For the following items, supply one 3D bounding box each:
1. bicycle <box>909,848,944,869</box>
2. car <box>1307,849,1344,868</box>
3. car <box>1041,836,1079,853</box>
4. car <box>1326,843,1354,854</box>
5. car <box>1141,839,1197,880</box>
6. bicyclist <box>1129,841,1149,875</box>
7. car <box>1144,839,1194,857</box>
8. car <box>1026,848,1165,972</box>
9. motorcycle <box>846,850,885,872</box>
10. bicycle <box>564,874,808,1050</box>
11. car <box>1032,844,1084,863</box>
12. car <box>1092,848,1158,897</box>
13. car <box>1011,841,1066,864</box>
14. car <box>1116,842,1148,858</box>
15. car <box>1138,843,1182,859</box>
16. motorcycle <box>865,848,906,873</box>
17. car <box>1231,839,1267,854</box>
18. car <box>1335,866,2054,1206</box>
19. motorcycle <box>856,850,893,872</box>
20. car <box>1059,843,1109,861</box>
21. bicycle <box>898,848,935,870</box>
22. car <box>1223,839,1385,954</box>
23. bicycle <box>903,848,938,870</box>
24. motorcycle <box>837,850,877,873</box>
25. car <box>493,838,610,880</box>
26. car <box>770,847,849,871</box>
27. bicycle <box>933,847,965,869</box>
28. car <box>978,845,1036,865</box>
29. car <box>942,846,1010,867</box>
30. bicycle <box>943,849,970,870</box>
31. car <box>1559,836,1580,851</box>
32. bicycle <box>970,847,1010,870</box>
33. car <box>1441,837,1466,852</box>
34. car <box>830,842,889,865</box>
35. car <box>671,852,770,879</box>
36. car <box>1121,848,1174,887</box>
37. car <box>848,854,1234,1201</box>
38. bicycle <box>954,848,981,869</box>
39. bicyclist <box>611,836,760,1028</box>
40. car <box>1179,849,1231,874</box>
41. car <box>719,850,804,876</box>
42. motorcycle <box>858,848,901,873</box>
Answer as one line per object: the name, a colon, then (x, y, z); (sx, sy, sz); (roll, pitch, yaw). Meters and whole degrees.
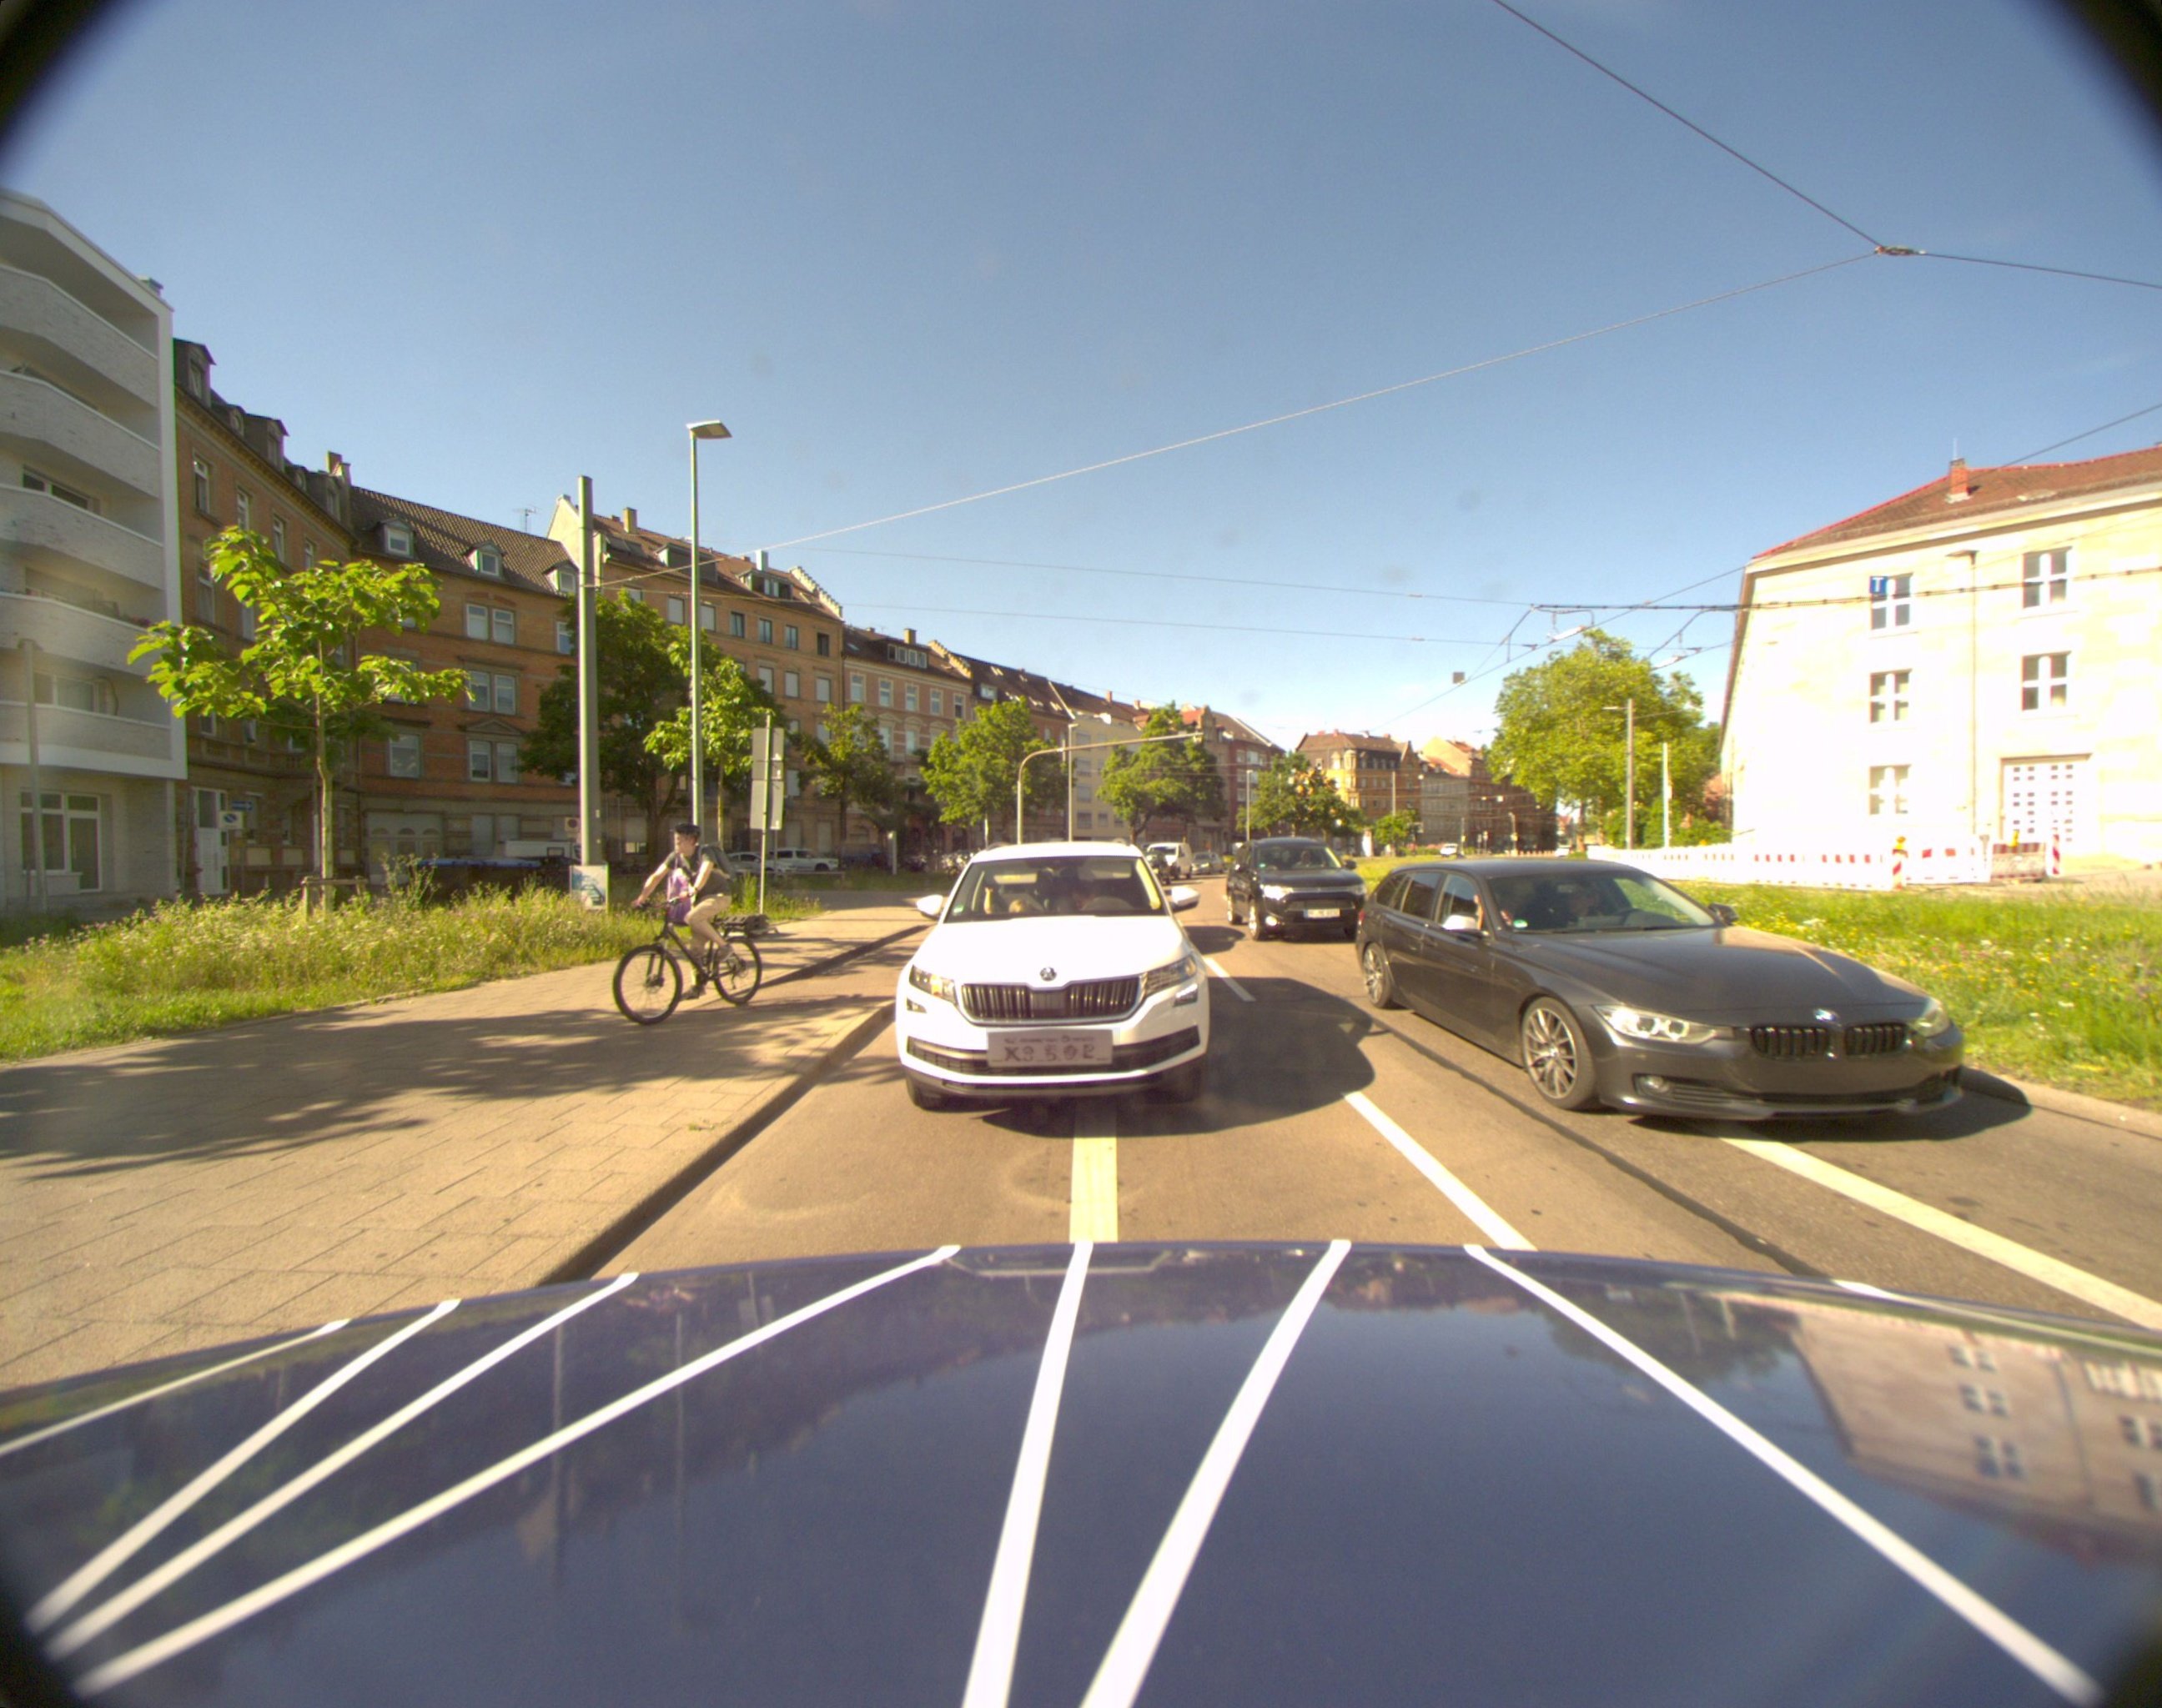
bicycle: (-9.516, 0.279, 46.715); (2.198, 1.260, 0.664); (-2, 1, 32)
car: (22.493, 0.419, 69.751); (1.835, 1.637, 4.157); (1, 2, 40)
car: (-1.947, -0.943, 71.669); (1.547, 1.578, 3.607); (1, 2, 41)
car: (42.518, -0.857, 124.611); (3.989, 1.641, 1.866); (-2, 1, 31)
car: (4.831, 0.229, 41.010); (1.979, 2.074, 4.719); (0, 1, 20)
bicyclist: (3.449, 0.235, 45.142); (0.847, 2.002, 1.198); (0, 1, 20)
car: (8.190, -0.589, 70.613); (4.578, 1.658, 1.600); (0, 1, 7)
car: (0.230, 0.763, 12.612); (1.842, 1.636, 4.397); (-2, 0, 1)
motorcycle: (-12.946, 0.415, 45.627); (2.314, 1.276, 0.664); (-2, 1, 24)
bicycle: (-3.663, 0.914, 7.302); (0.735, 1.353, 2.078); (0, 1, 21)
car: (-1.782, -0.055, 58.716); (3.823, 1.398, 1.600); (0, 1, 6)
car: (1.638, 0.599, 26.961); (1.838, 1.543, 4.151); (0, 1, 10)
car: (-3.114, -0.137, 56.107); (3.825, 1.698, 1.682); (0, 1, 3)
car: (5.461, -0.423, 80.731); (1.547, 1.578, 3.607); (1, 2, 41)
car: (7.119, -0.249, 68.183); (3.823, 1.372, 1.600); (0, 1, 9)
motorcycle: (-11.154, 0.357, 43.296); (2.200, 1.315, 0.664); (-2, 1, 18)
car: (18.686, -0.821, 84.663); (3.823, 1.581, 1.600); (0, 1, 6)
car: (3.474, 0.850, 5.598); (1.741, 1.359, 4.426); (-2, 0, 1)
motorcycle: (-12.608, 0.401, 46.407); (2.199, 1.260, 0.664); (-2, 1, 24)
car: (0.253, -0.160, 61.168); (3.823, 1.398, 1.600); (0, 1, 6)
bicycle: (-9.749, 0.306, 45.073); (2.198, 1.260, 0.664); (-2, 1, 30)
car: (3.693, 0.627, 13.402); (1.841, 1.636, 4.399); (-2, 0, 5)
bicycle: (-9.713, 0.294, 46.012); (2.198, 1.260, 0.664); (-2, 1, 32)
motorcycle: (-13.295, 0.438, 45.022); (2.314, 1.270, 0.664); (-2, 1, 24)
car: (-27.123, 0.216, 39.012); (2.047, 2.026, 4.510); (1, 2, 41)
car: (-14.687, 0.255, 41.197); (3.700, 1.244, 1.540); (0, 1, 2)
bicycle: (-7.735, 0.240, 44.521); (0.664, 1.260, 2.198); (-3, 1, -45)
car: (-5.234, 0.086, 53.968); (3.822, 1.398, 1.683); (0, 1, 9)
car: (-7.049, 0.175, 51.298); (4.322, 1.398, 1.682); (0, 1, 3)
bicycle: (-7.692, 0.340, 46.763); (0.664, 1.260, 2.199); (-3, 1, -36)
car: (58.199, -1.238, 90.545); (1.820, 1.636, 4.190); (-1, 0, 36)
bicycle: (-5.482, 0.267, 45.742); (2.207, 1.260, 0.662); (-3, 1, -25)
car: (48.790, -1.245, 99.502); (1.994, 1.864, 4.599); (-1, 1, 37)
car: (-15.617, -0.057, 53.673); (1.547, 1.578, 3.709); (1, 2, 41)
car: (-17.505, 0.533, 36.909); (4.156, 1.244, 1.683); (0, 1, 13)
car: (3.118, 0.557, 34.870); (1.837, 1.637, 4.152); (0, 1, 14)
car: (-0.232, 0.855, 5.953); (1.842, 1.636, 4.397); (-2, 0, -1)
bicycle: (-7.129, 0.308, 47.757); (0.664, 1.260, 2.199); (-3, 1, -36)
bicyclist: (-3.718, 0.680, 7.210); (0.734, 1.685, 0.973); (0, 1, 22)
car: (7.934, 0.430, 48.364); (1.836, 1.464, 4.721); (0, 1, 28)
car: (-16.413, 0.439, 39.108); (3.696, 1.244, 1.683); (0, 1, 13)
motorcycle: (-11.184, 0.374, 42.210); (2.200, 1.322, 0.663); (-2, 1, 13)
